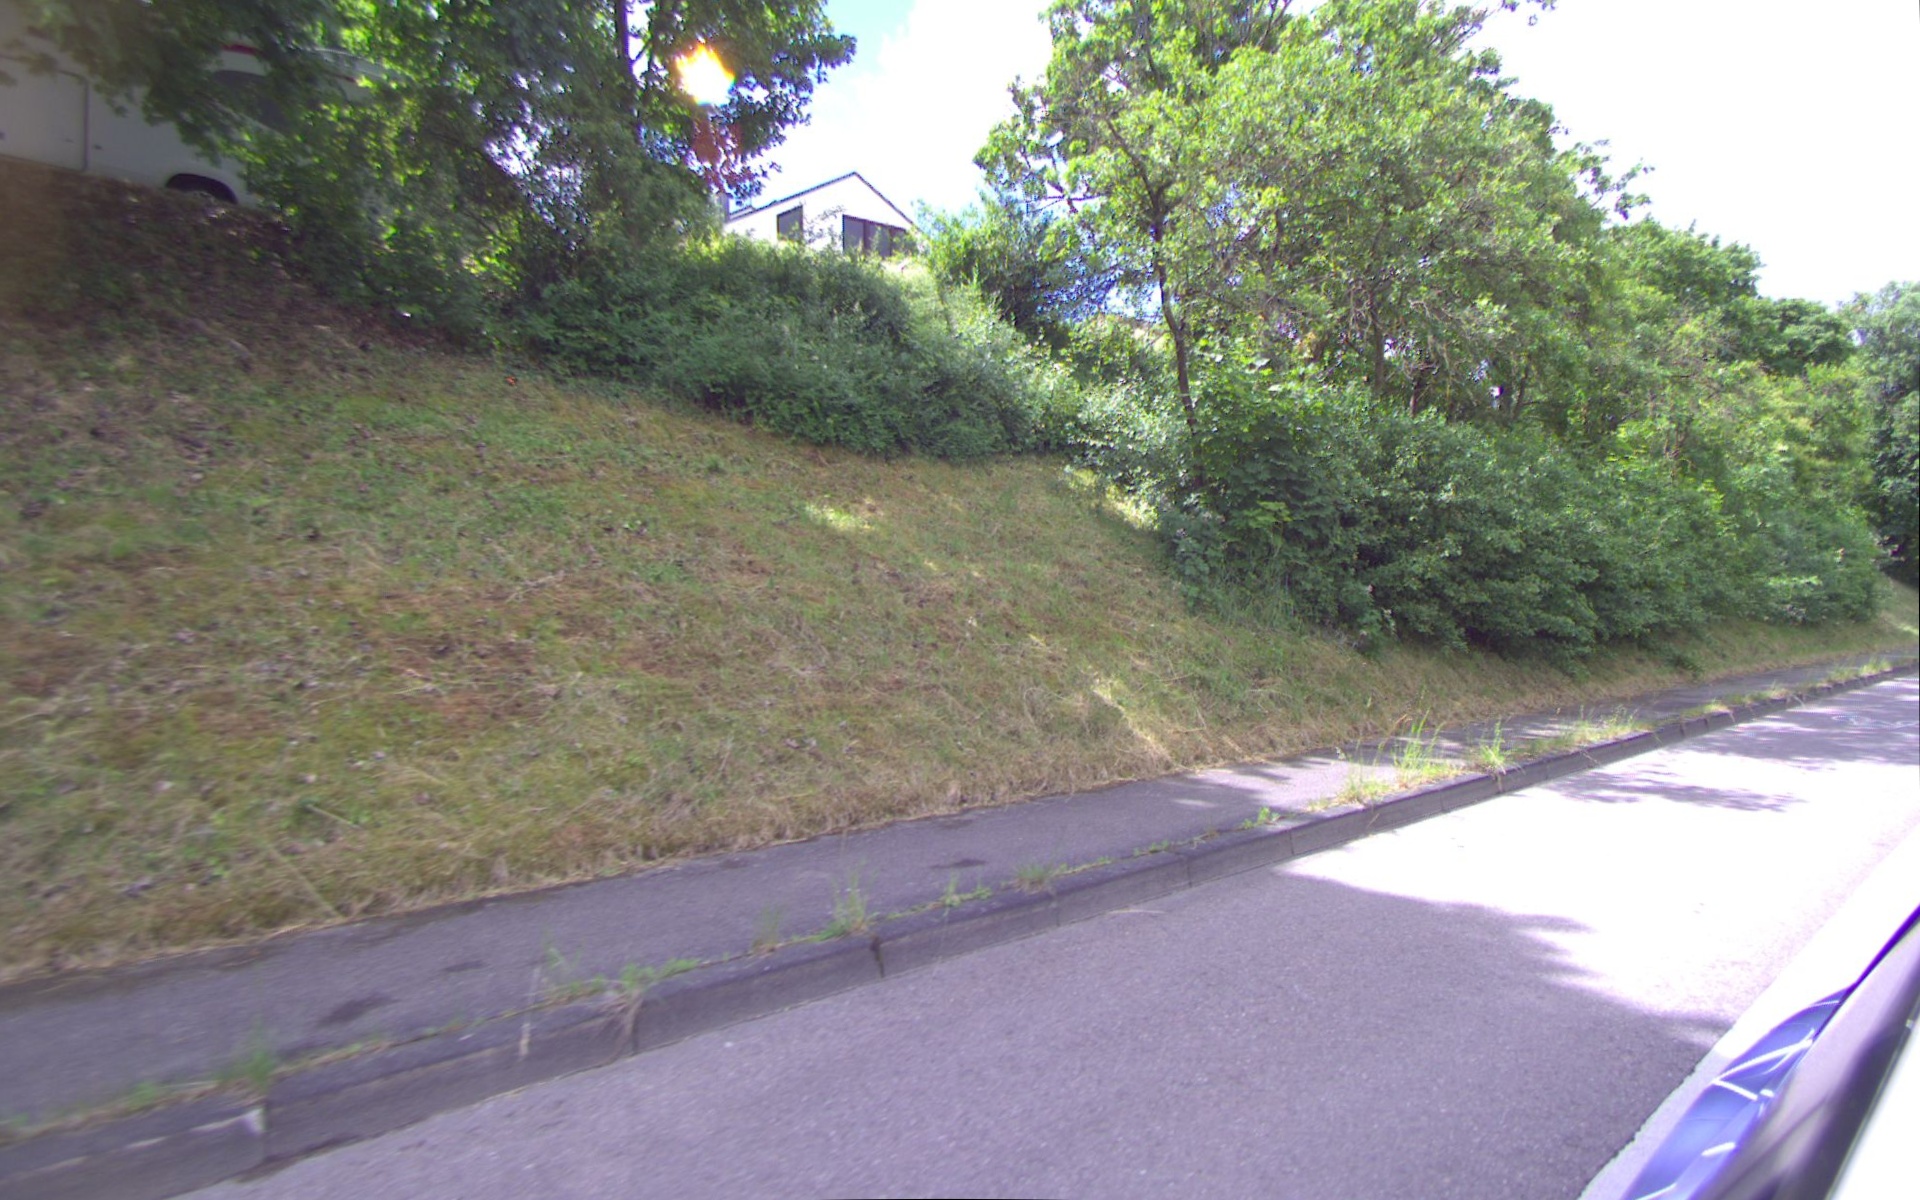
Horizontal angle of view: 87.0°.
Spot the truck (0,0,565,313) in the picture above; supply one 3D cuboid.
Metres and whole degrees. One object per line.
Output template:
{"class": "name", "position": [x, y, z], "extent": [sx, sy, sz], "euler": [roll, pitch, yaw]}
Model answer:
{"class": "truck", "position": [-9.316, -6.181, 13.888], "extent": [6.921, 2.692, 2.353], "euler": [0, 0, -43]}
